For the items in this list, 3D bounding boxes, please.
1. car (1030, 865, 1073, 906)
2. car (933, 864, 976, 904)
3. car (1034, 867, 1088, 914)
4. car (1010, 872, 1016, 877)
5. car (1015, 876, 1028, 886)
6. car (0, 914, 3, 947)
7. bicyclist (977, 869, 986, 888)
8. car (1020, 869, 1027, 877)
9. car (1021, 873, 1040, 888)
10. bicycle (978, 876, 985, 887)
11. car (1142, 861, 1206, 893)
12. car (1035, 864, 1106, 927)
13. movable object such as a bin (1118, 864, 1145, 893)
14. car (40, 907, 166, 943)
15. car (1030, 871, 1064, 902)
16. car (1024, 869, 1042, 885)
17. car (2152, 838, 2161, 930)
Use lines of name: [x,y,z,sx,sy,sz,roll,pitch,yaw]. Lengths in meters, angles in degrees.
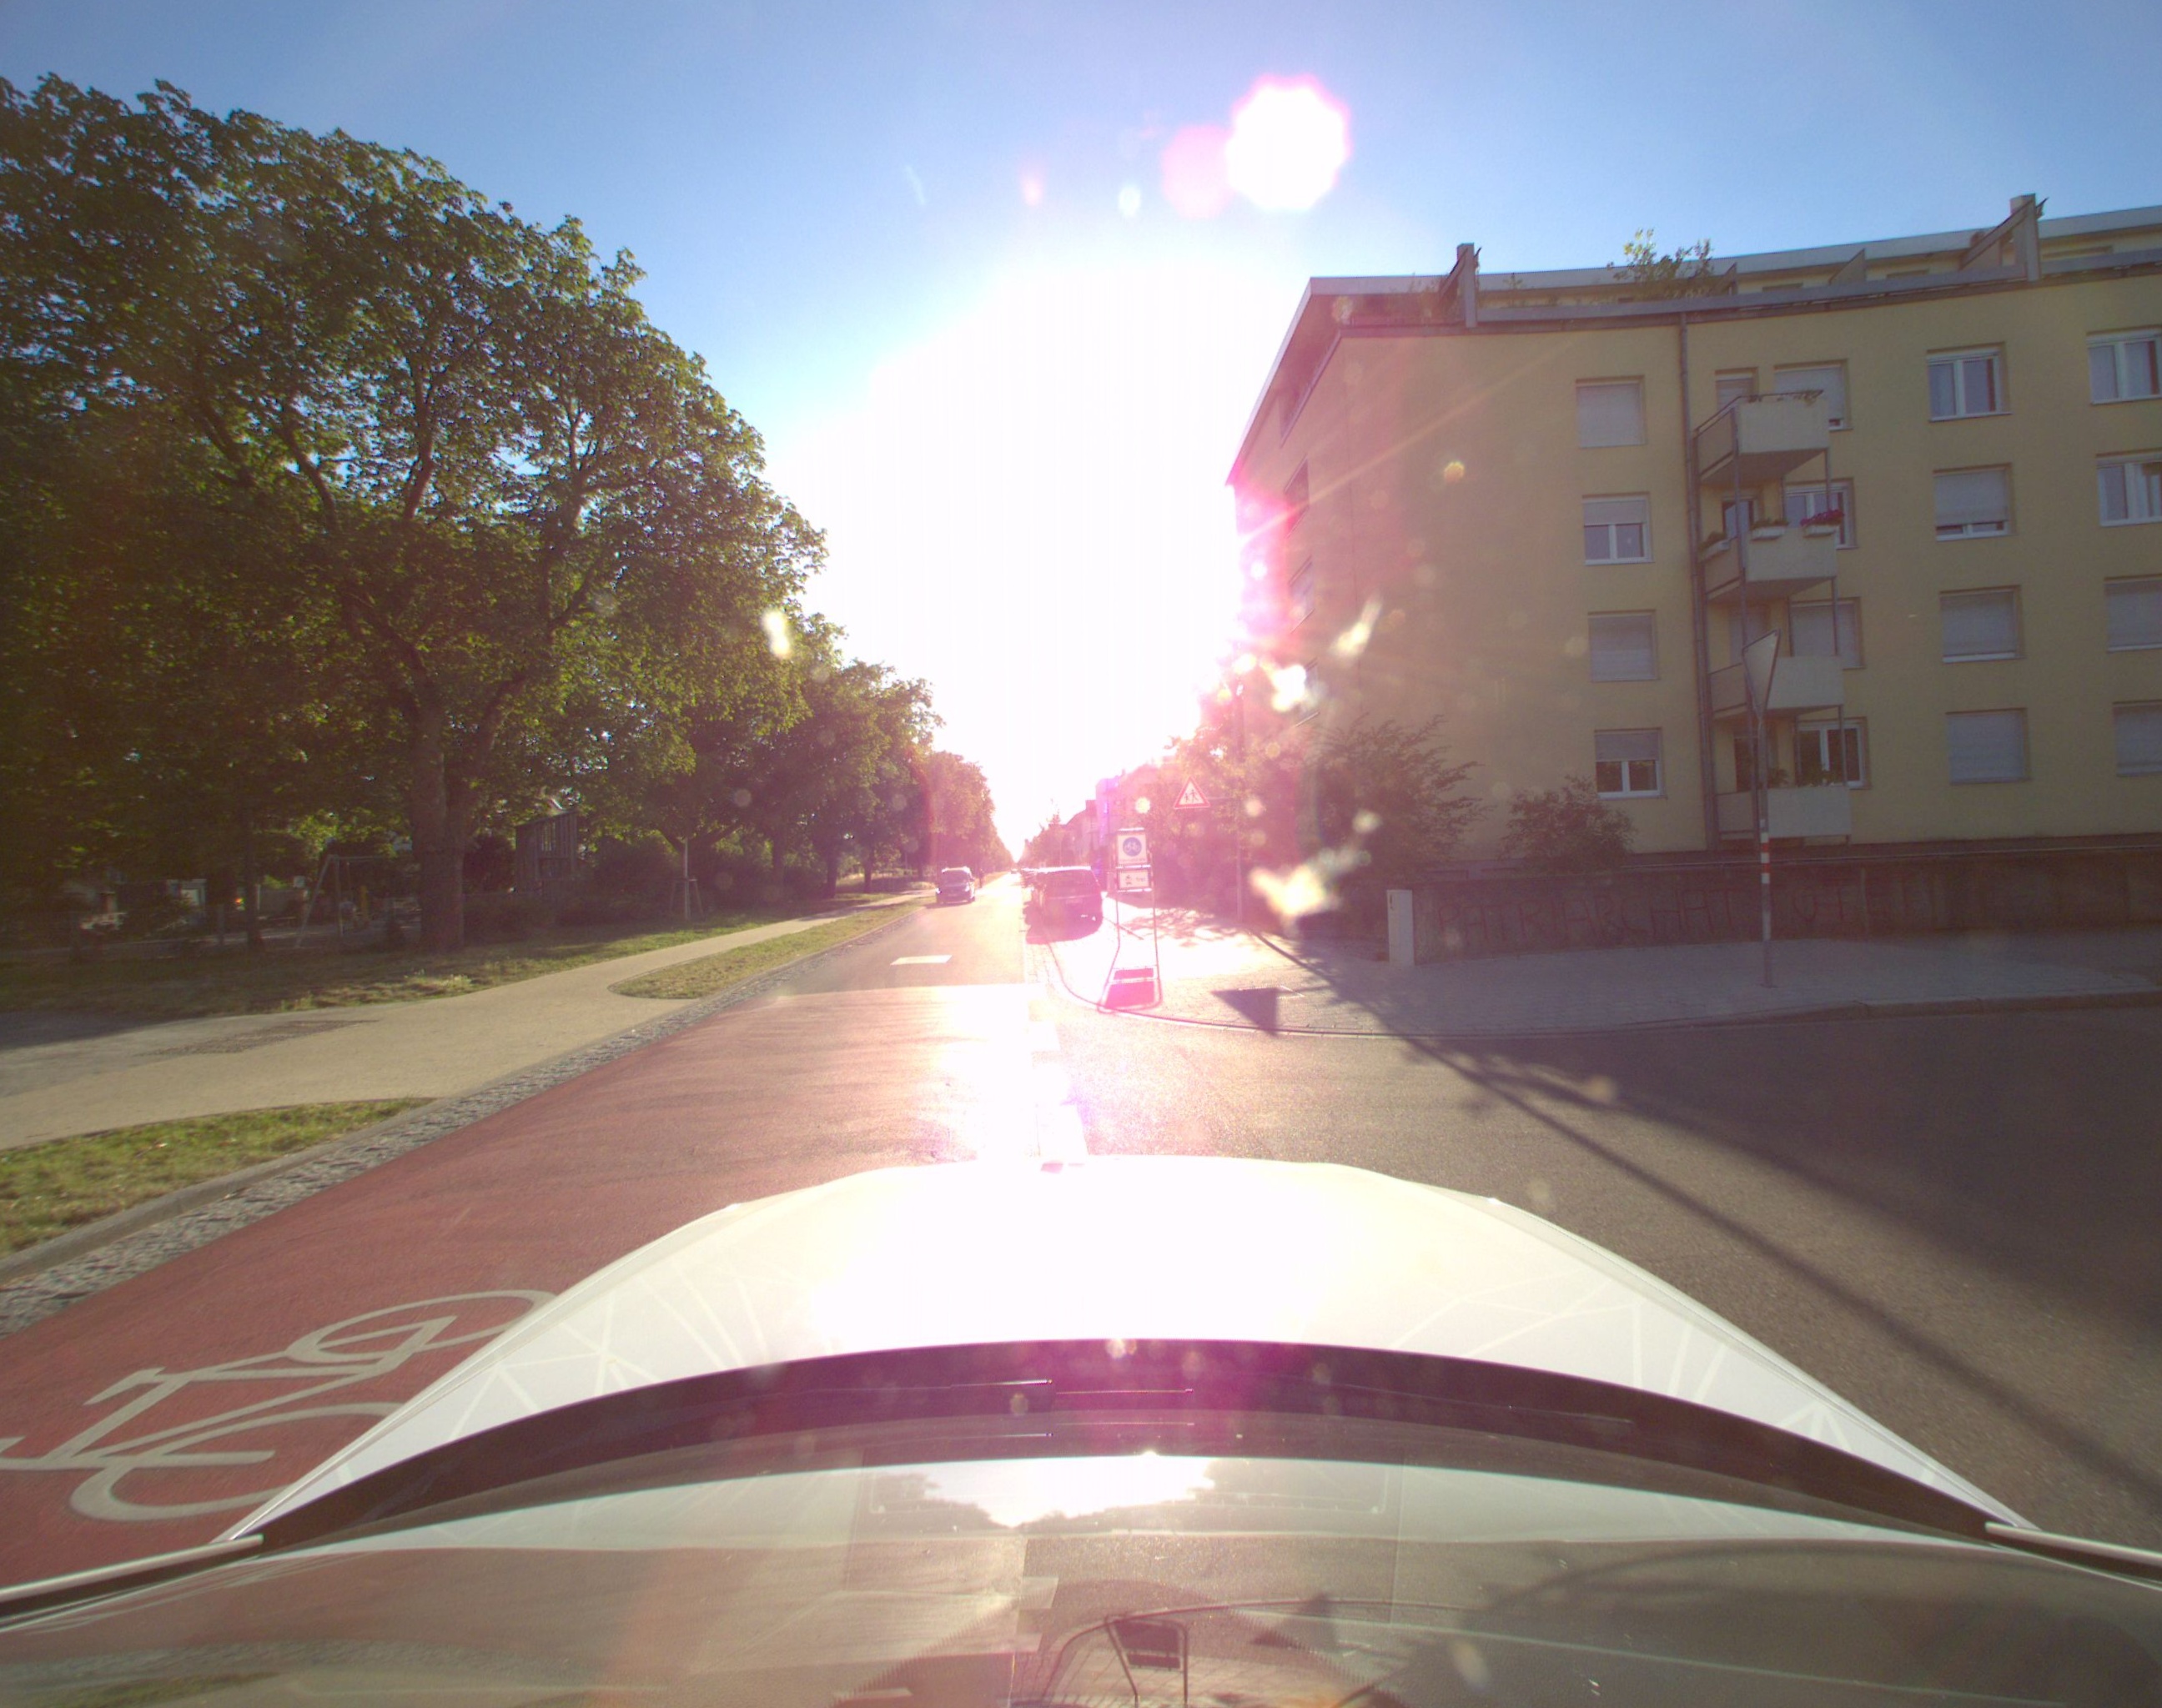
car: [-1.352,1.347,35.896,1.675,1.555,4.124,-4,-1,-3]
car: [-6.471,1.527,42.164,1.841,1.847,4.563,-3,-1,-6]
car: [-0.818,1.319,30.512,1.676,1.555,4.136,-4,-1,-5]
car: [-19.483,5.954,234.645,1.649,1.541,3.261,-1,-1,-5]
car: [-9.168,4.129,125.682,1.734,1.449,4.188,-4,-2,-6]
car: [-45.922,3.194,32.254,1.519,1.368,3.747,-2,-1,-3]
bicyclist: [-9.128,2.244,74.914,0.680,1.673,1.170,-3,-2,-5]
car: [-12.377,4.057,175.043,1.495,1.567,3.262,-2,-1,-3]
car: [-4.848,2.509,78.086,1.771,1.288,4.265,-2,-1,-4]
bicycle: [-9.146,2.521,74.873,0.555,1.032,1.911,-3,-2,-5]
car: [5.219,1.287,46.020,3.478,1.642,1.644,-2,-1,3]
car: [-0.417,1.188,24.762,1.708,1.611,4.160,-4,-1,-6]
movable object such as a bin: [2.643,1.289,42.813,1.234,1.432,1.122,-2,-1,-3]
car: [-46.174,3.307,38.568,1.519,1.368,3.747,-2,-1,-3]
car: [-1.801,1.627,41.798,1.561,1.390,4.367,-4,-1,-4]
car: [-5.311,2.506,89.414,1.742,1.474,3.914,-5,-1,-6]
car: [11.371,0.472,6.245,4.023,1.420,1.787,-1,-3,-3]
